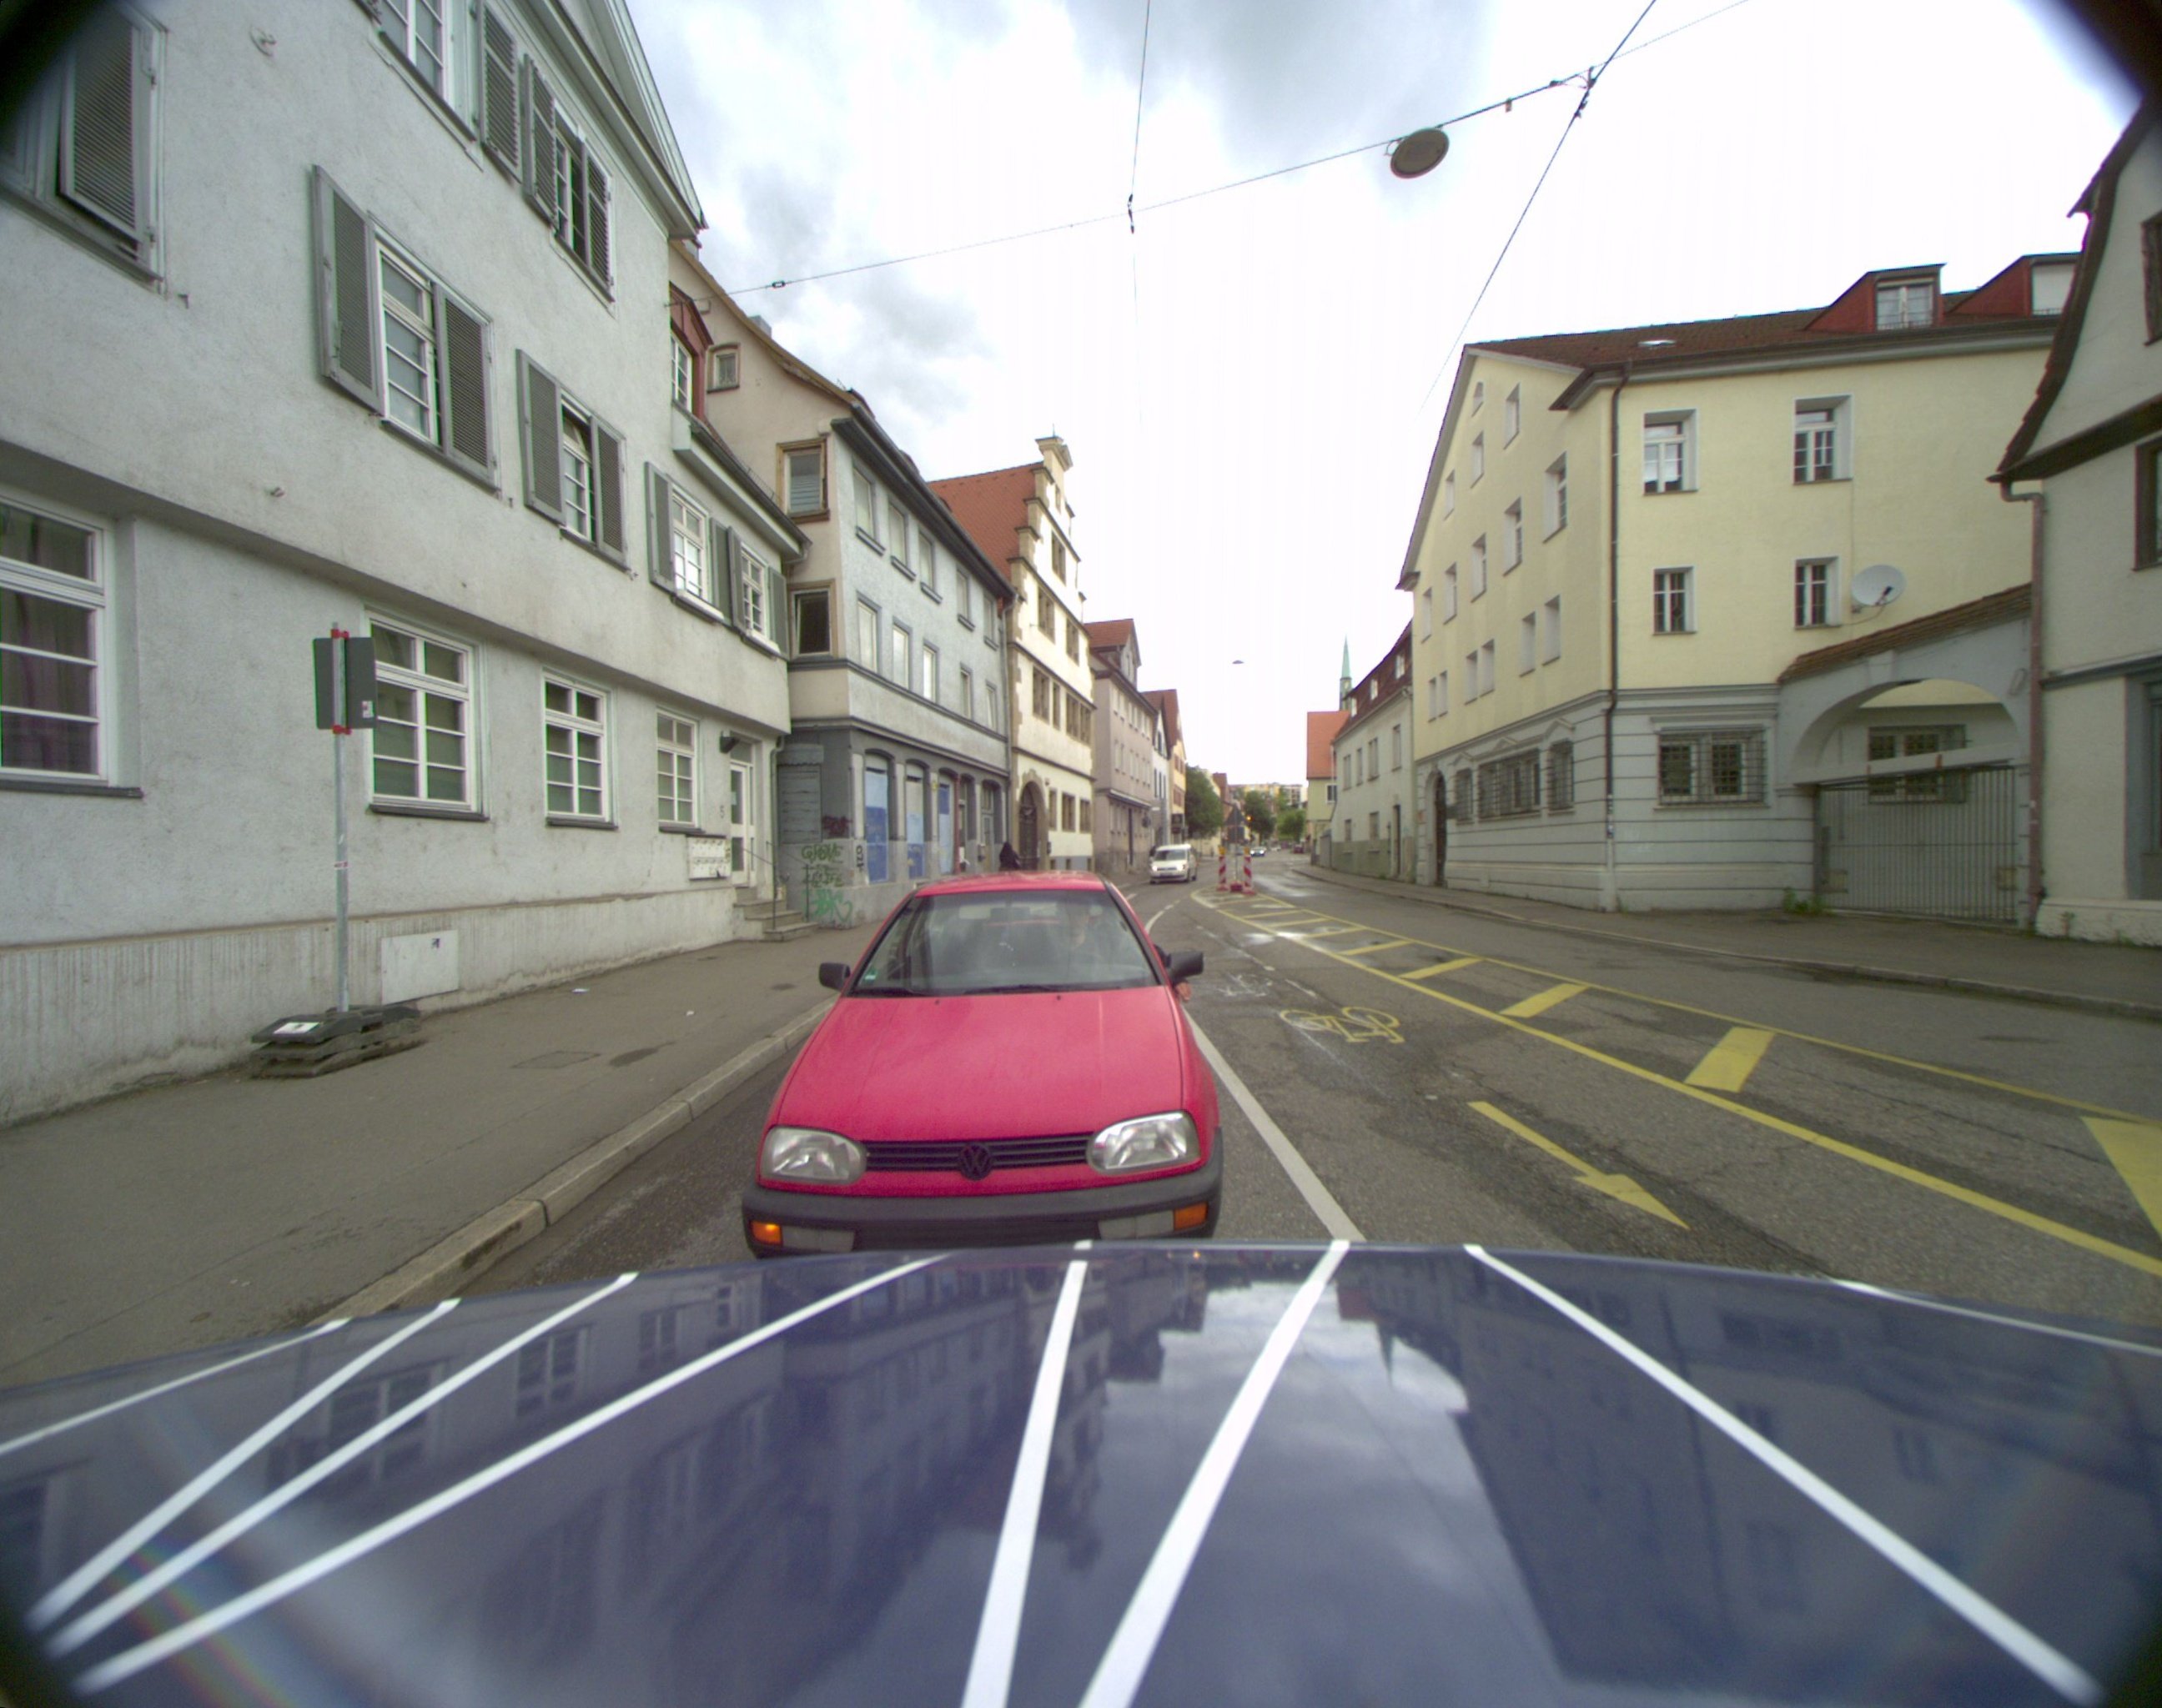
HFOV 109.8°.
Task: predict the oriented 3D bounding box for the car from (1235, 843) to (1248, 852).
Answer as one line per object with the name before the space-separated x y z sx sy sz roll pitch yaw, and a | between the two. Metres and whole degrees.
car | 28.309 -1.117 133.614 2.031 1.546 4.004 0 1 14

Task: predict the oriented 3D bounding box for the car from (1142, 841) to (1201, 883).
car | 4.331 0.324 35.693 1.996 1.777 4.472 0 2 17

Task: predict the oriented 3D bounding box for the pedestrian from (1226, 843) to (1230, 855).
pedestrian | 25.079 -0.856 129.513 0.660 2.103 0.646 -1 0 10

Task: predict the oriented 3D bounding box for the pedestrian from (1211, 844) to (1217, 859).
pedestrian | 19.933 -0.390 113.864 0.901 2.297 0.821 -1 0 13

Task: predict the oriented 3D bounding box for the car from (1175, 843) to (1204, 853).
car | 16.287 -0.882 113.620 3.992 1.455 2.002 -1 1 17

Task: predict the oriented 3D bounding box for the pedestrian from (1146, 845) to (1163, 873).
pedestrian | 4.400 0.318 45.221 0.833 1.646 0.945 -1 0 15

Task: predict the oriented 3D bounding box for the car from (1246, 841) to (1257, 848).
car | 34.630 -1.865 154.215 1.819 1.380 4.005 0 1 17

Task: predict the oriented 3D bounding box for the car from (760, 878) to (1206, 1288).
car | -0.344 0.951 4.936 1.685 1.418 4.021 -1 0 1

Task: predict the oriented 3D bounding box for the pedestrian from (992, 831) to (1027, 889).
pedestrian | -2.086 0.173 22.206 0.756 1.658 0.810 2 1 14

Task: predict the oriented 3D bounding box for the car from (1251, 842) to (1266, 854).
car | 26.467 -0.893 113.053 1.996 1.669 4.004 -1 1 15

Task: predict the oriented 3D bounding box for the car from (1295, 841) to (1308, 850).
car | 42.641 -1.660 146.793 2.210 1.668 4.502 0 1 14
